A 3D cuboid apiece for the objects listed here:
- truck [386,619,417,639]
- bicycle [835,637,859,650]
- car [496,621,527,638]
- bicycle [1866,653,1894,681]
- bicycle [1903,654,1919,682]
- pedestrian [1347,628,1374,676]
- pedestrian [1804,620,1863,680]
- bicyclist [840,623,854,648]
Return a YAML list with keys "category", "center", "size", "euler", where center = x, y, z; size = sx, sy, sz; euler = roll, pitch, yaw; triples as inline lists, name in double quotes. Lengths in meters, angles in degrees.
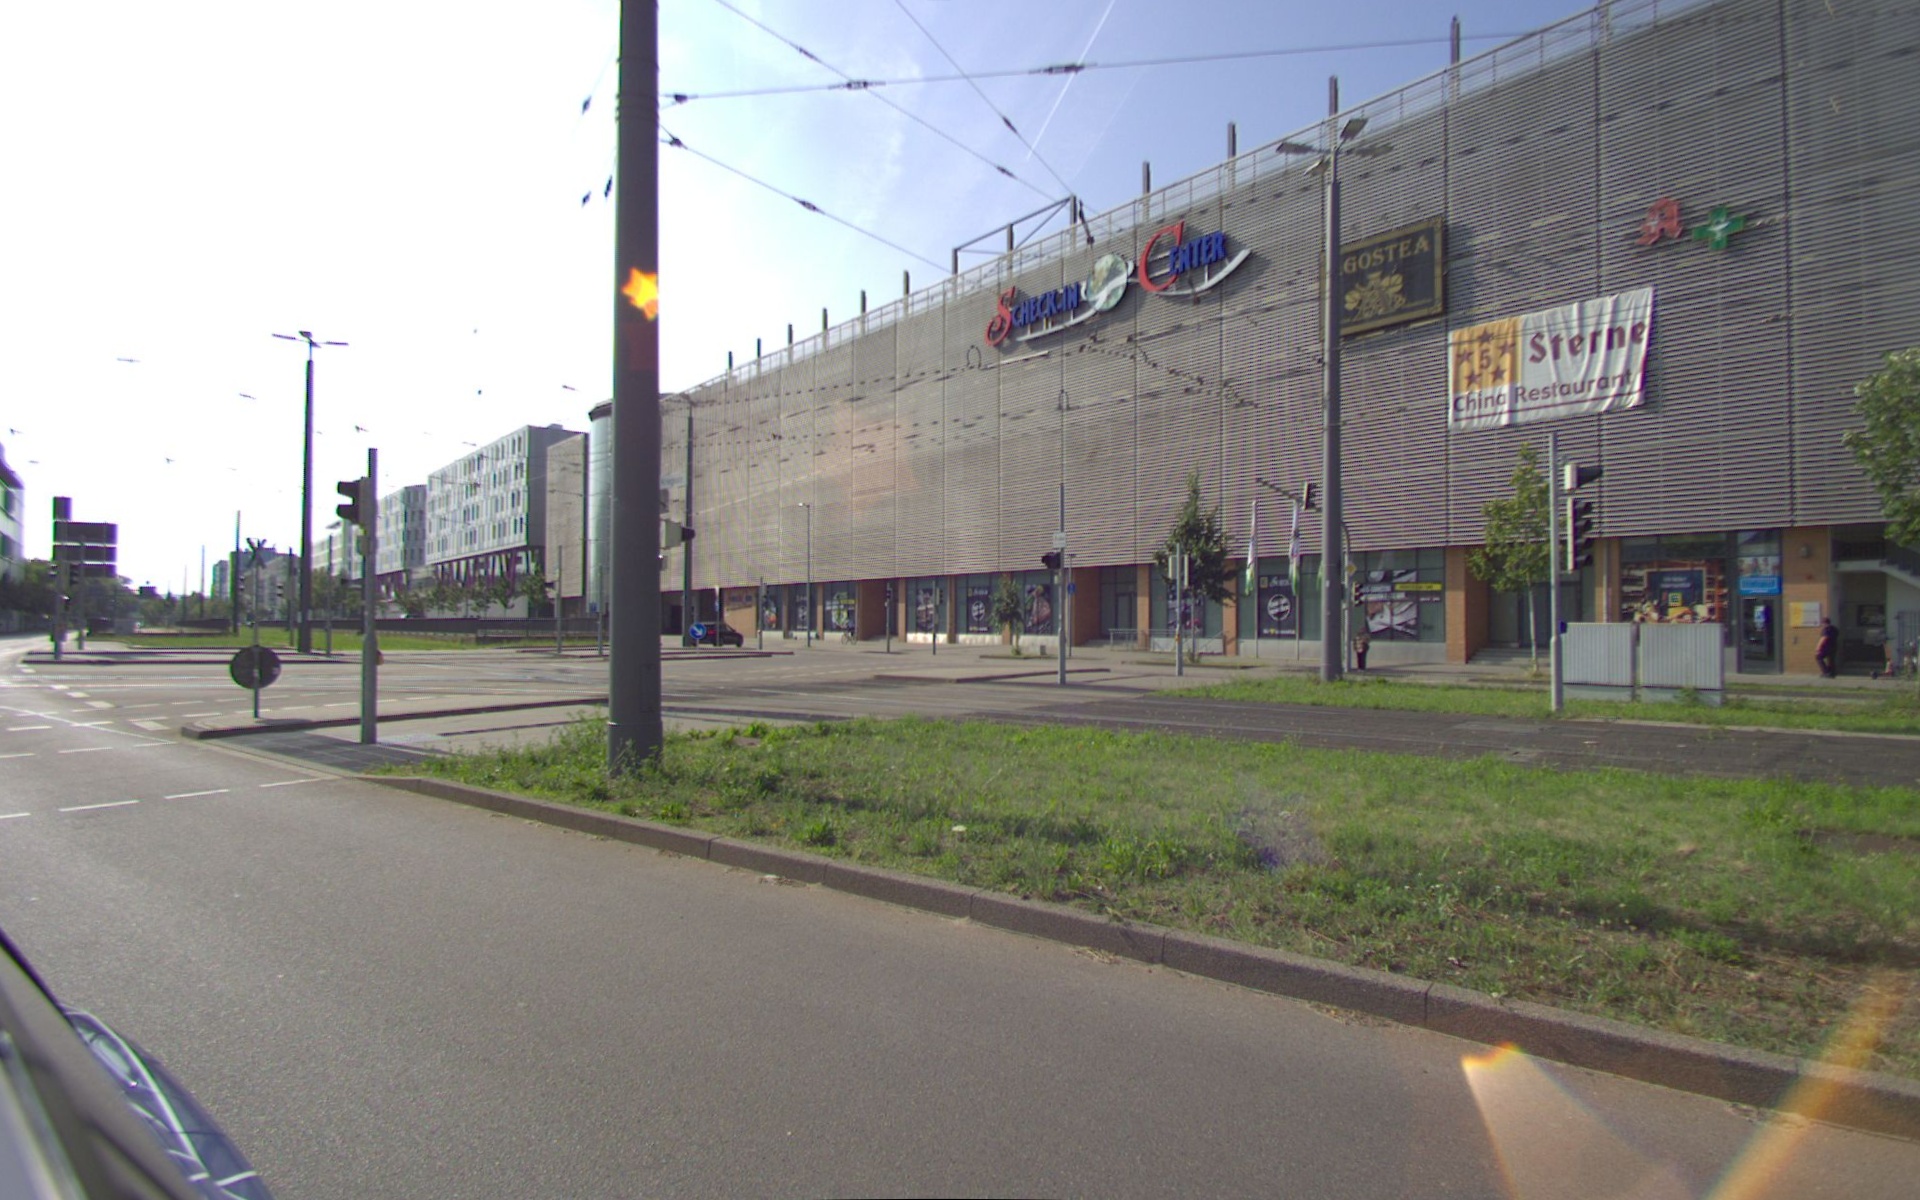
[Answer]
- category: "truck"
  center: [-68.950, 3.582, 124.844]
  size: [2.175, 2.339, 4.554]
  euler: [2, -2, -45]
- category: "bicycle"
  center: [-7.288, 2.795, 65.408]
  size: [0.573, 0.785, 1.872]
  euler: [2, -2, -40]
- category: "car"
  center: [-42.226, 2.775, 95.317]
  size: [1.716, 1.571, 3.407]
  euler: [2, -1, -41]
- category: "bicycle"
  center: [26.690, 1.936, 29.358]
  size: [0.990, 0.758, 0.453]
  euler: [1, -2, -39]
- category: "bicycle"
  center: [27.196, 1.922, 28.759]
  size: [0.990, 0.758, 0.453]
  euler: [1, -2, -39]
- category: "pedestrian"
  center: [13.630, 1.758, 34.436]
  size: [0.752, 1.591, 0.590]
  euler: [2, -3, -44]
- category: "pedestrian"
  center: [25.839, 1.467, 29.943]
  size: [0.807, 1.732, 1.178]
  euler: [1, -2, -40]
- category: "bicyclist"
  center: [-7.281, 2.296, 65.409]
  size: [0.560, 1.642, 0.715]
  euler: [2, -1, -42]
